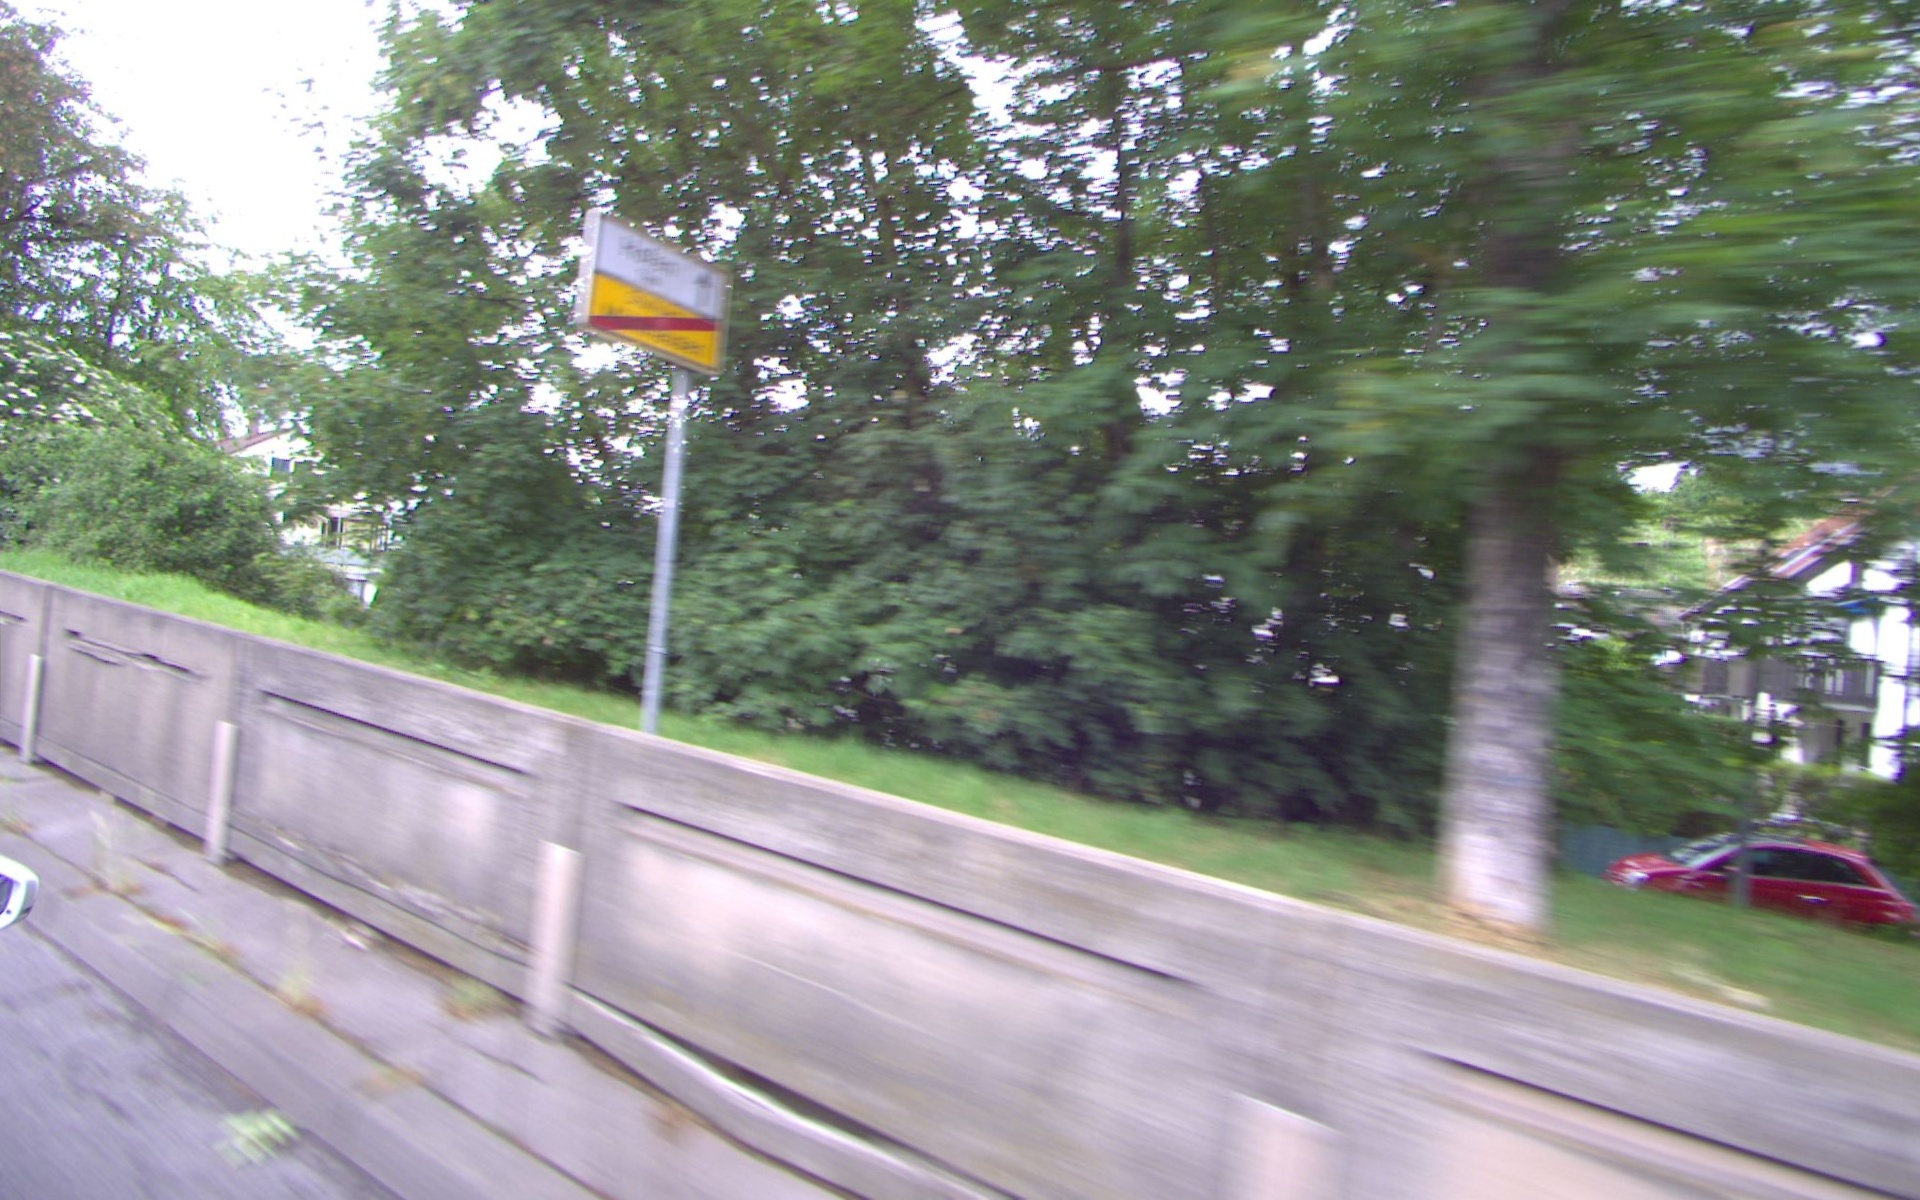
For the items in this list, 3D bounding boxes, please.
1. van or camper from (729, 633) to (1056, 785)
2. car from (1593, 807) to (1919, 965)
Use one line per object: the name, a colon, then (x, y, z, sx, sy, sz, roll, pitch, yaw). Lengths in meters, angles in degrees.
van or camper: (-1.316, 2.001, 19.342, 5.735, 2.036, 2.186, 5, -3, 23)
car: (11.092, 3.929, 14.155, 3.384, 1.340, 1.423, 6, -3, 21)
